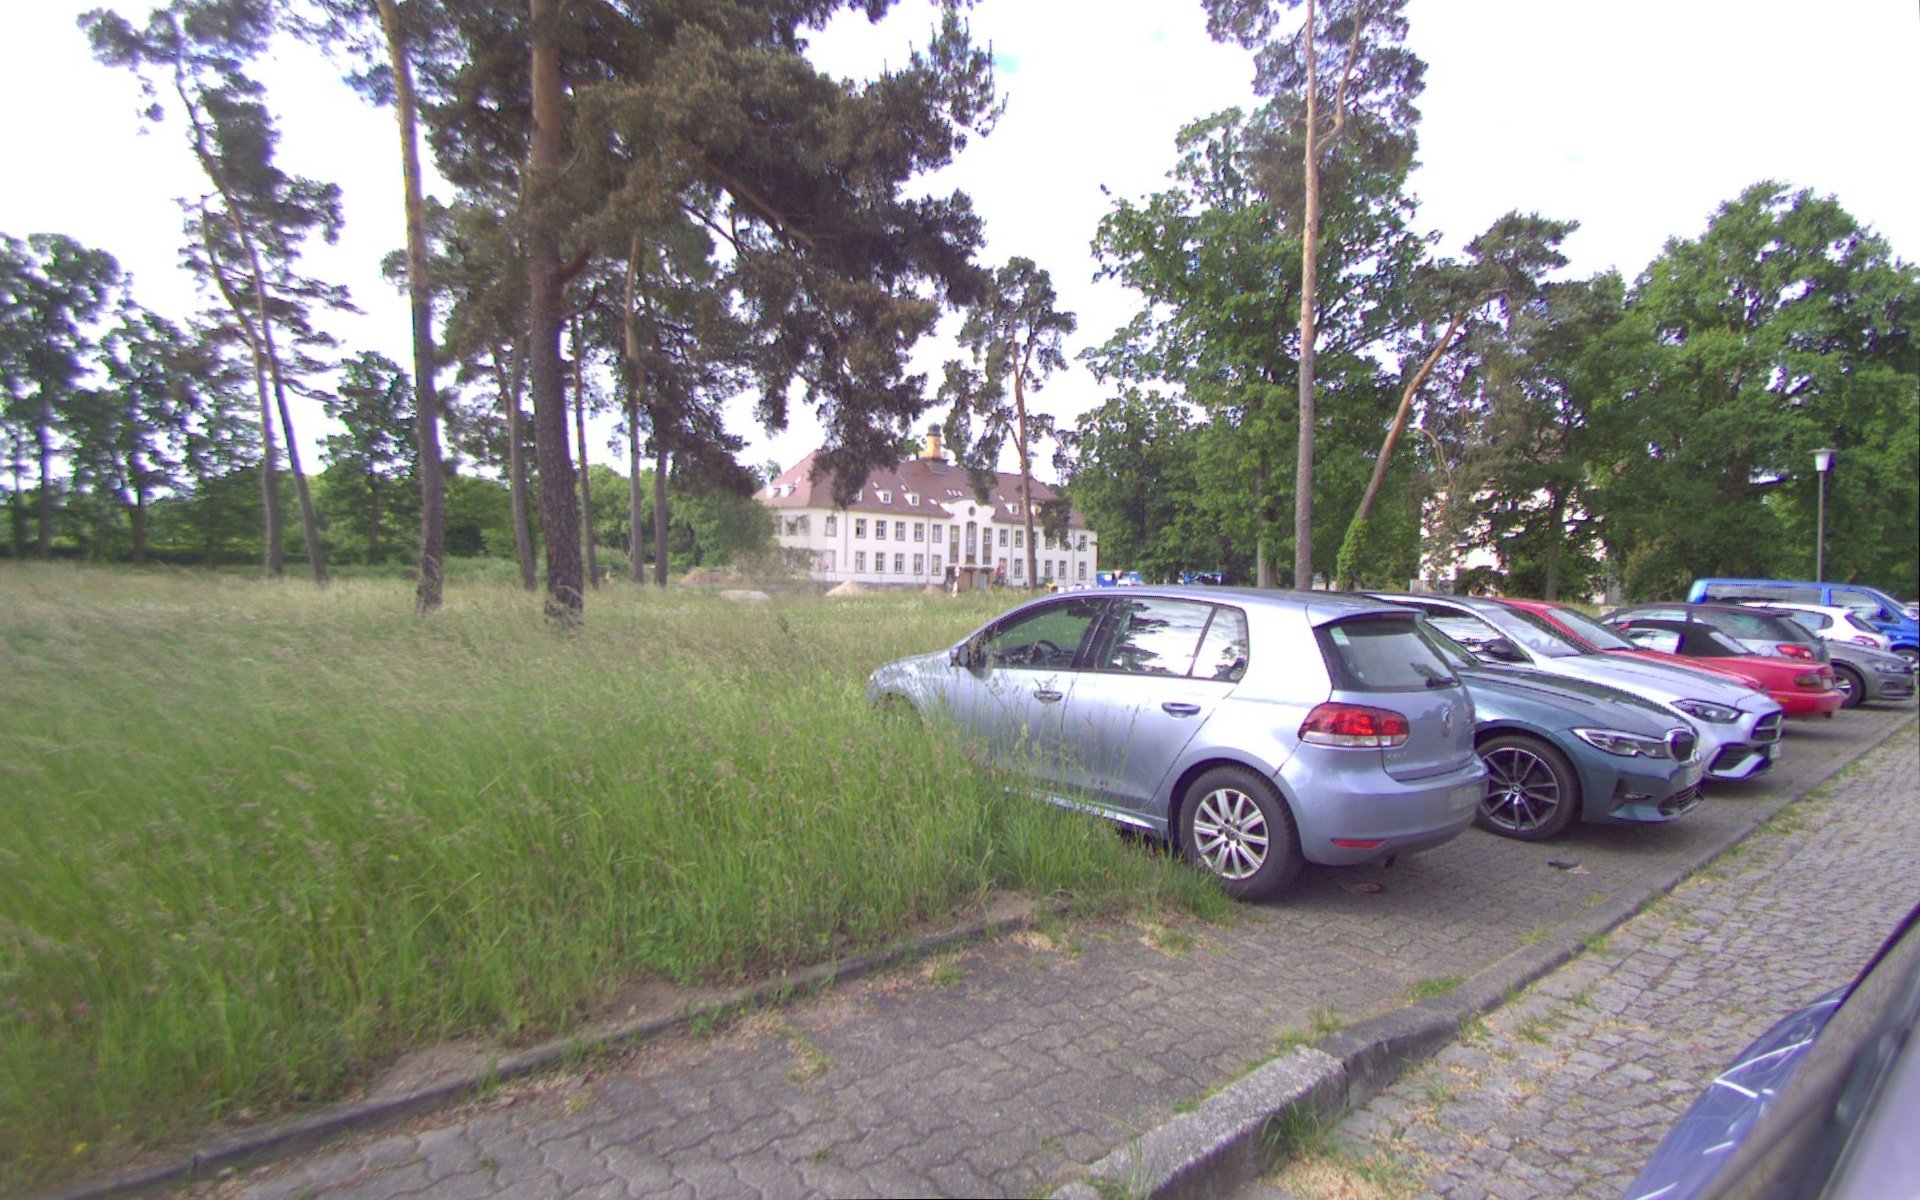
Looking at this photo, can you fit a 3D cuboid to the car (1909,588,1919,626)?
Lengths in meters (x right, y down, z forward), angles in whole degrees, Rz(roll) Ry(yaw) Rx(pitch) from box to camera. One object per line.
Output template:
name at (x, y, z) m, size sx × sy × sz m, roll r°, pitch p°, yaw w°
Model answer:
car at (43.722, 0.359, 43.670) m, size 1.964 × 1.645 × 3.791 m, roll 0°, pitch 2°, yaw -39°

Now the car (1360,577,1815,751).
car at (6.765, 0.545, 11.280) m, size 1.764 × 1.531 × 3.934 m, roll 0°, pitch 2°, yaw -38°

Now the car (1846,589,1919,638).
car at (32.695, 0.479, 34.202) m, size 1.967 × 1.589 × 3.991 m, roll 0°, pitch 2°, yaw -44°

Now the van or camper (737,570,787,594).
van or camper at (-21.077, -1.916, 107.531) m, size 2.424 × 2.335 × 6.115 m, roll 0°, pitch 2°, yaw -43°

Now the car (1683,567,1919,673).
car at (18.629, 0.354, 21.585) m, size 1.963 × 2.038 × 4.844 m, roll 0°, pitch 2°, yaw -37°

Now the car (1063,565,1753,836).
car at (3.101, 0.494, 7.926) m, size 1.765 × 1.463 × 4.628 m, roll 0°, pitch 2°, yaw -40°

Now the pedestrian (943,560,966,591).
pedestrian at (-0.394, -1.761, 71.957) m, size 1.037 × 2.205 × 1.183 m, roll 0°, pitch 1°, yaw -41°

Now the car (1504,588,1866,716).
car at (10.306, 0.631, 14.627) m, size 1.765 × 1.494 × 3.932 m, roll 0°, pitch 2°, yaw -39°

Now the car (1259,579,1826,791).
car at (5.170, 0.578, 9.537) m, size 1.764 × 1.463 × 4.268 m, roll 0°, pitch 2°, yaw -38°

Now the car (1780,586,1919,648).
car at (25.086, 0.443, 27.538) m, size 1.835 × 1.523 × 3.997 m, roll 0°, pitch 2°, yaw -38°

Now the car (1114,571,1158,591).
car at (18.653, -1.993, 107.101) m, size 4.753 × 2.039 × 2.163 m, roll 0°, pitch 2°, yaw -43°

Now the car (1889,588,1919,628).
car at (40.303, 0.375, 40.896) m, size 1.964 × 1.589 × 3.791 m, roll 0°, pitch 2°, yaw -39°

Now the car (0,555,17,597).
car at (-38.969, -0.950, 38.578) m, size 4.375 × 1.606 × 1.996 m, roll 0°, pitch 2°, yaw -43°

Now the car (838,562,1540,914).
car at (1.077, 0.509, 6.274) m, size 1.765 × 1.436 × 3.996 m, roll 0°, pitch 2°, yaw -40°

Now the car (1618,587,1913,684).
car at (14.516, 0.556, 18.407) m, size 1.765 × 1.467 × 3.931 m, roll 0°, pitch 2°, yaw -40°

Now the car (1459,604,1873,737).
car at (8.664, 0.742, 12.697) m, size 1.765 × 1.250 × 3.932 m, roll 0°, pitch 2°, yaw -39°

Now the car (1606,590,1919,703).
car at (12.725, 0.629, 15.959) m, size 1.765 × 1.453 × 3.931 m, roll 0°, pitch 2°, yaw -40°
